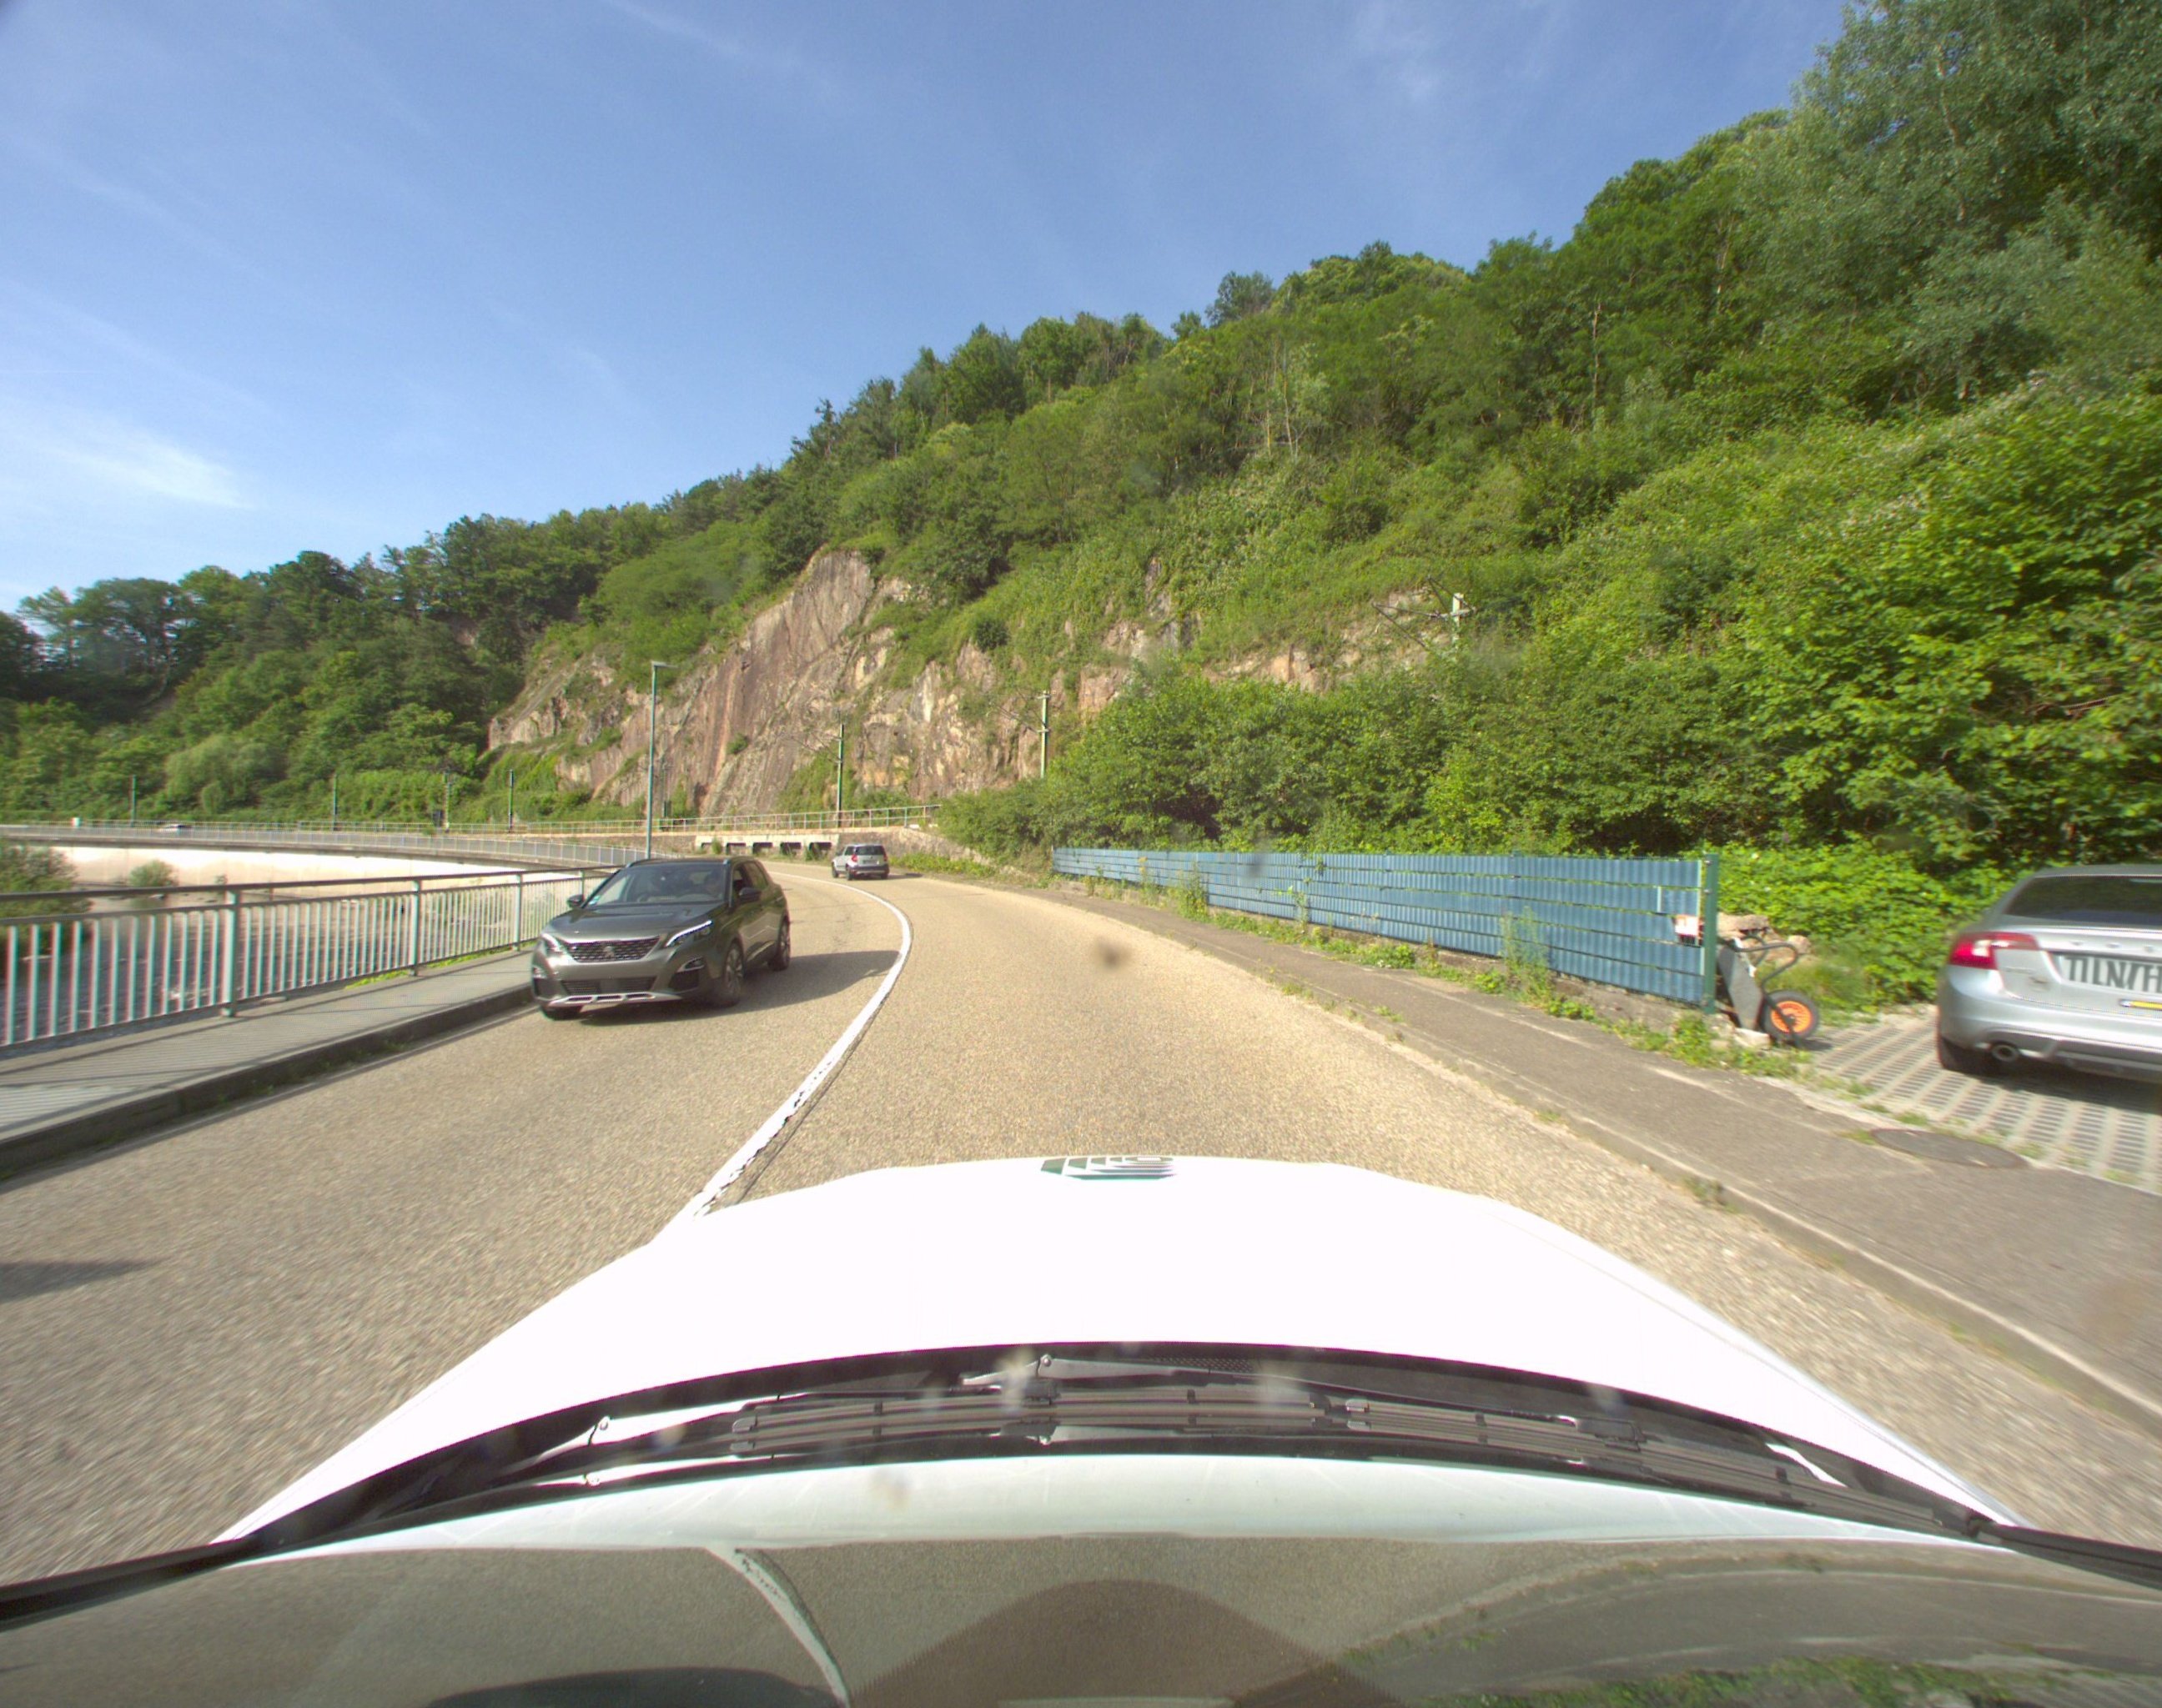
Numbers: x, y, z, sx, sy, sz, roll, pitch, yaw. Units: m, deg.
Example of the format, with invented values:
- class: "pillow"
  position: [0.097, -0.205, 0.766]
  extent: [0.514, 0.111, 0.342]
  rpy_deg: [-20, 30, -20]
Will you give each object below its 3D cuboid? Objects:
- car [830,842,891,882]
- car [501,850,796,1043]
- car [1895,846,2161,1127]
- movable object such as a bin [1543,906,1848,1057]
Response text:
- class: "car"
  position: [-10.027, 0.306, 36.852]
  extent: [1.883, 1.655, 3.966]
  rpy_deg: [-2, 2, -26]
- class: "car"
  position: [-4.735, 0.843, 9.653]
  extent: [1.816, 1.643, 3.986]
  rpy_deg: [-4, 1, -10]
- class: "car"
  position: [7.545, 0.723, 5.567]
  extent: [4.344, 1.469, 1.820]
  rpy_deg: [0, 2, -32]
- class: "movable object such as a bin"
  position: [5.017, 0.970, 6.970]
  extent: [0.851, 0.847, 2.542]
  rpy_deg: [2, 0, 5]
